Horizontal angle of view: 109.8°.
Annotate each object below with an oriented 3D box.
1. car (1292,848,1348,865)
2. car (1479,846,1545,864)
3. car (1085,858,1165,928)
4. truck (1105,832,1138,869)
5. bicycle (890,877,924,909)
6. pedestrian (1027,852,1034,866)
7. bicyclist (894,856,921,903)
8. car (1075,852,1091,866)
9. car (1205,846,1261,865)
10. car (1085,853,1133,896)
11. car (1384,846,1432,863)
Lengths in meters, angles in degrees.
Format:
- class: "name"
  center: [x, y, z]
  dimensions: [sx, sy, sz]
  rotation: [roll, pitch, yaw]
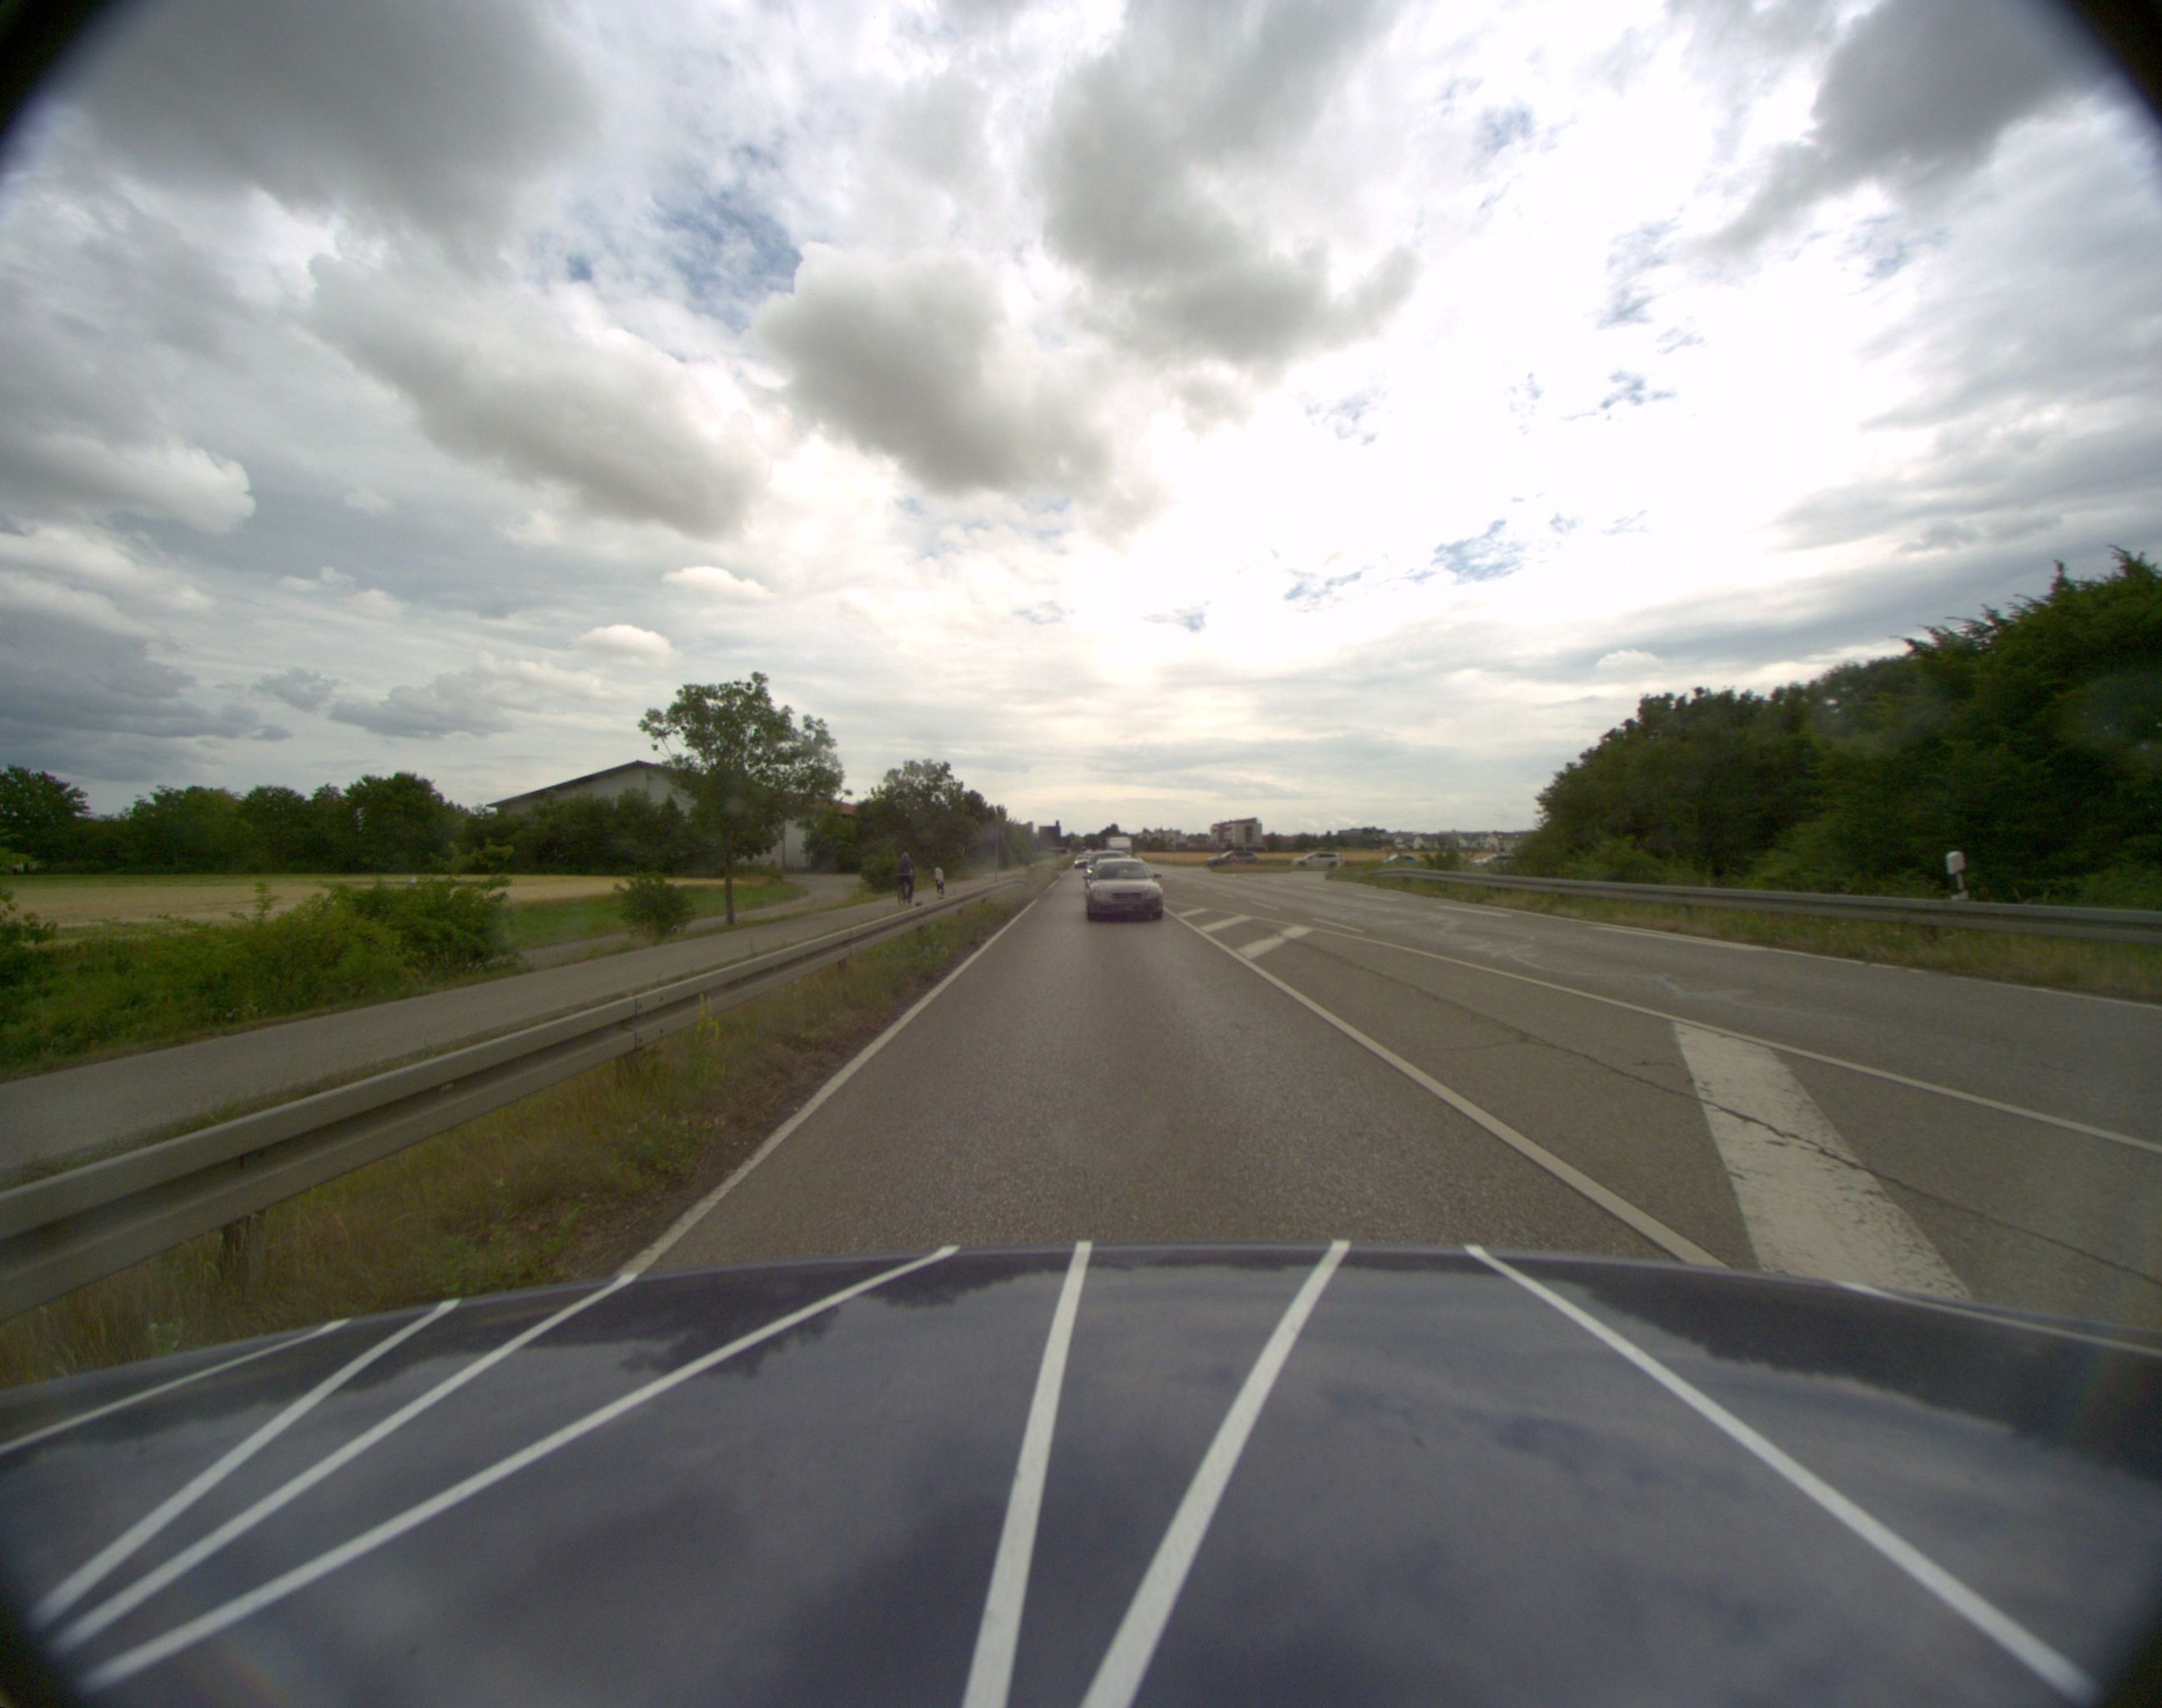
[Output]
- class: "car"
  center: [21.912, 0.187, 69.840]
  dimensions: [4.673, 1.490, 2.001]
  rotation: [-1, 1, 8]
- class: "car"
  center: [38.415, 0.104, 67.827]
  dimensions: [4.673, 1.490, 2.001]
  rotation: [-1, 1, 8]
- class: "car"
  center: [0.976, 0.870, 18.796]
  dimensions: [1.730, 1.436, 4.204]
  rotation: [-1, 0, 0]
- class: "truck"
  center: [4.207, -0.394, 79.874]
  dimensions: [2.931, 3.541, 7.604]
  rotation: [-2, 1, 0]
- class: "bicycle"
  center: [-5.909, 1.320, 25.952]
  dimensions: [0.640, 0.972, 2.072]
  rotation: [-1, 1, 1]
- class: "pedestrian"
  center: [-5.657, 0.572, 85.247]
  dimensions: [0.591, 1.512, 0.501]
  rotation: [-2, 1, 7]
- class: "bicyclist"
  center: [-5.911, 0.856, 25.925]
  dimensions: [0.640, 1.573, 0.969]
  rotation: [-1, 1, 1]
- class: "car"
  center: [0.213, 0.560, 83.858]
  dimensions: [1.730, 1.436, 4.204]
  rotation: [-2, 0, 0]
- class: "car"
  center: [14.065, 0.144, 70.473]
  dimensions: [4.816, 1.680, 1.999]
  rotation: [-1, 1, -4]
- class: "car"
  center: [1.056, 0.755, 30.300]
  dimensions: [1.730, 1.534, 4.204]
  rotation: [-1, 0, 0]
- class: "car"
  center: [29.622, 0.076, 68.915]
  dimensions: [3.714, 1.490, 1.731]
  rotation: [-1, 1, 8]
